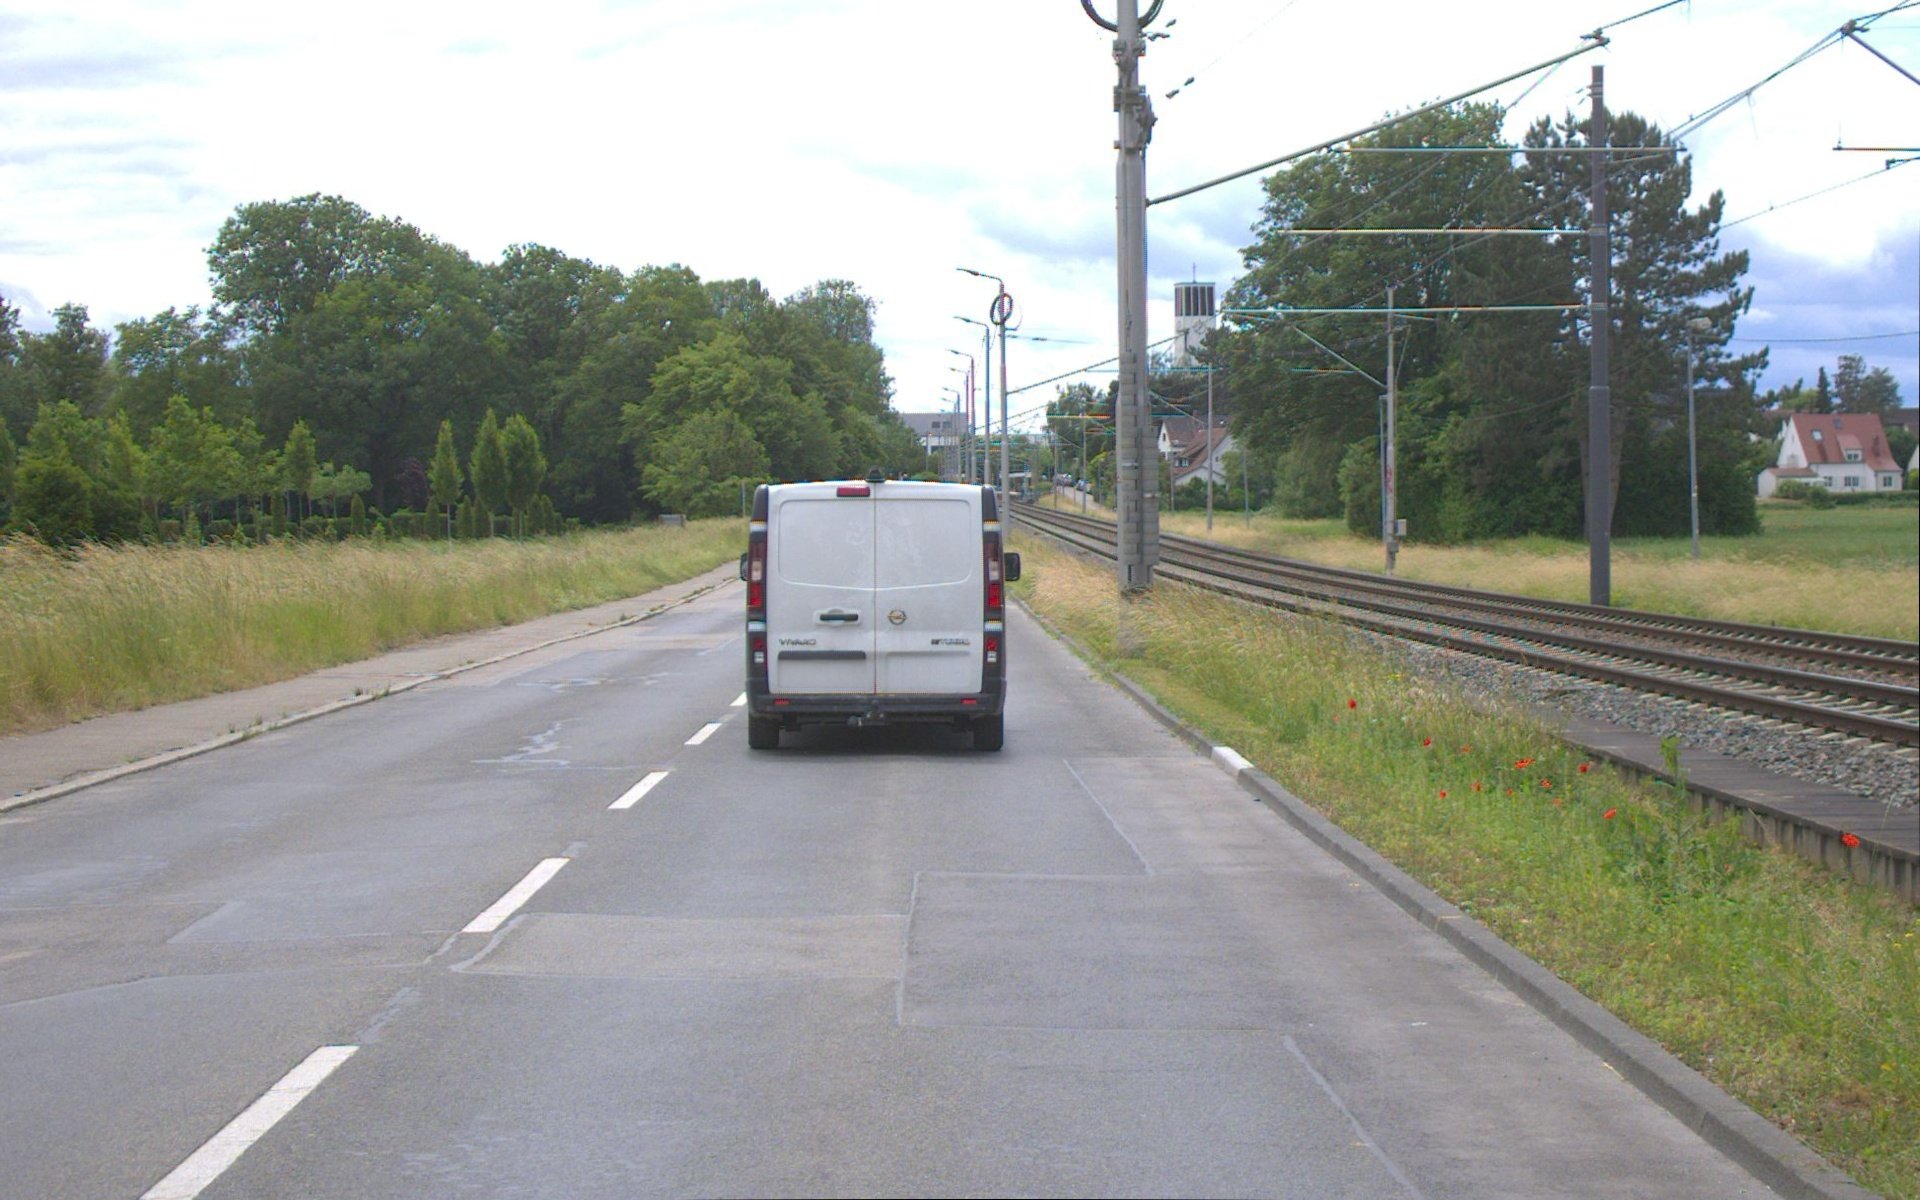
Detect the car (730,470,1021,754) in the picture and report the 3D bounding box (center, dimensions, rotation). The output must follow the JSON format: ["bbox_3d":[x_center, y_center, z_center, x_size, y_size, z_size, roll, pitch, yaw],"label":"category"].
[{"bbox_3d":[-0.642,0.044,25.756,1.993,1.950,4.000,0,1,-2],"label":"car"}]
